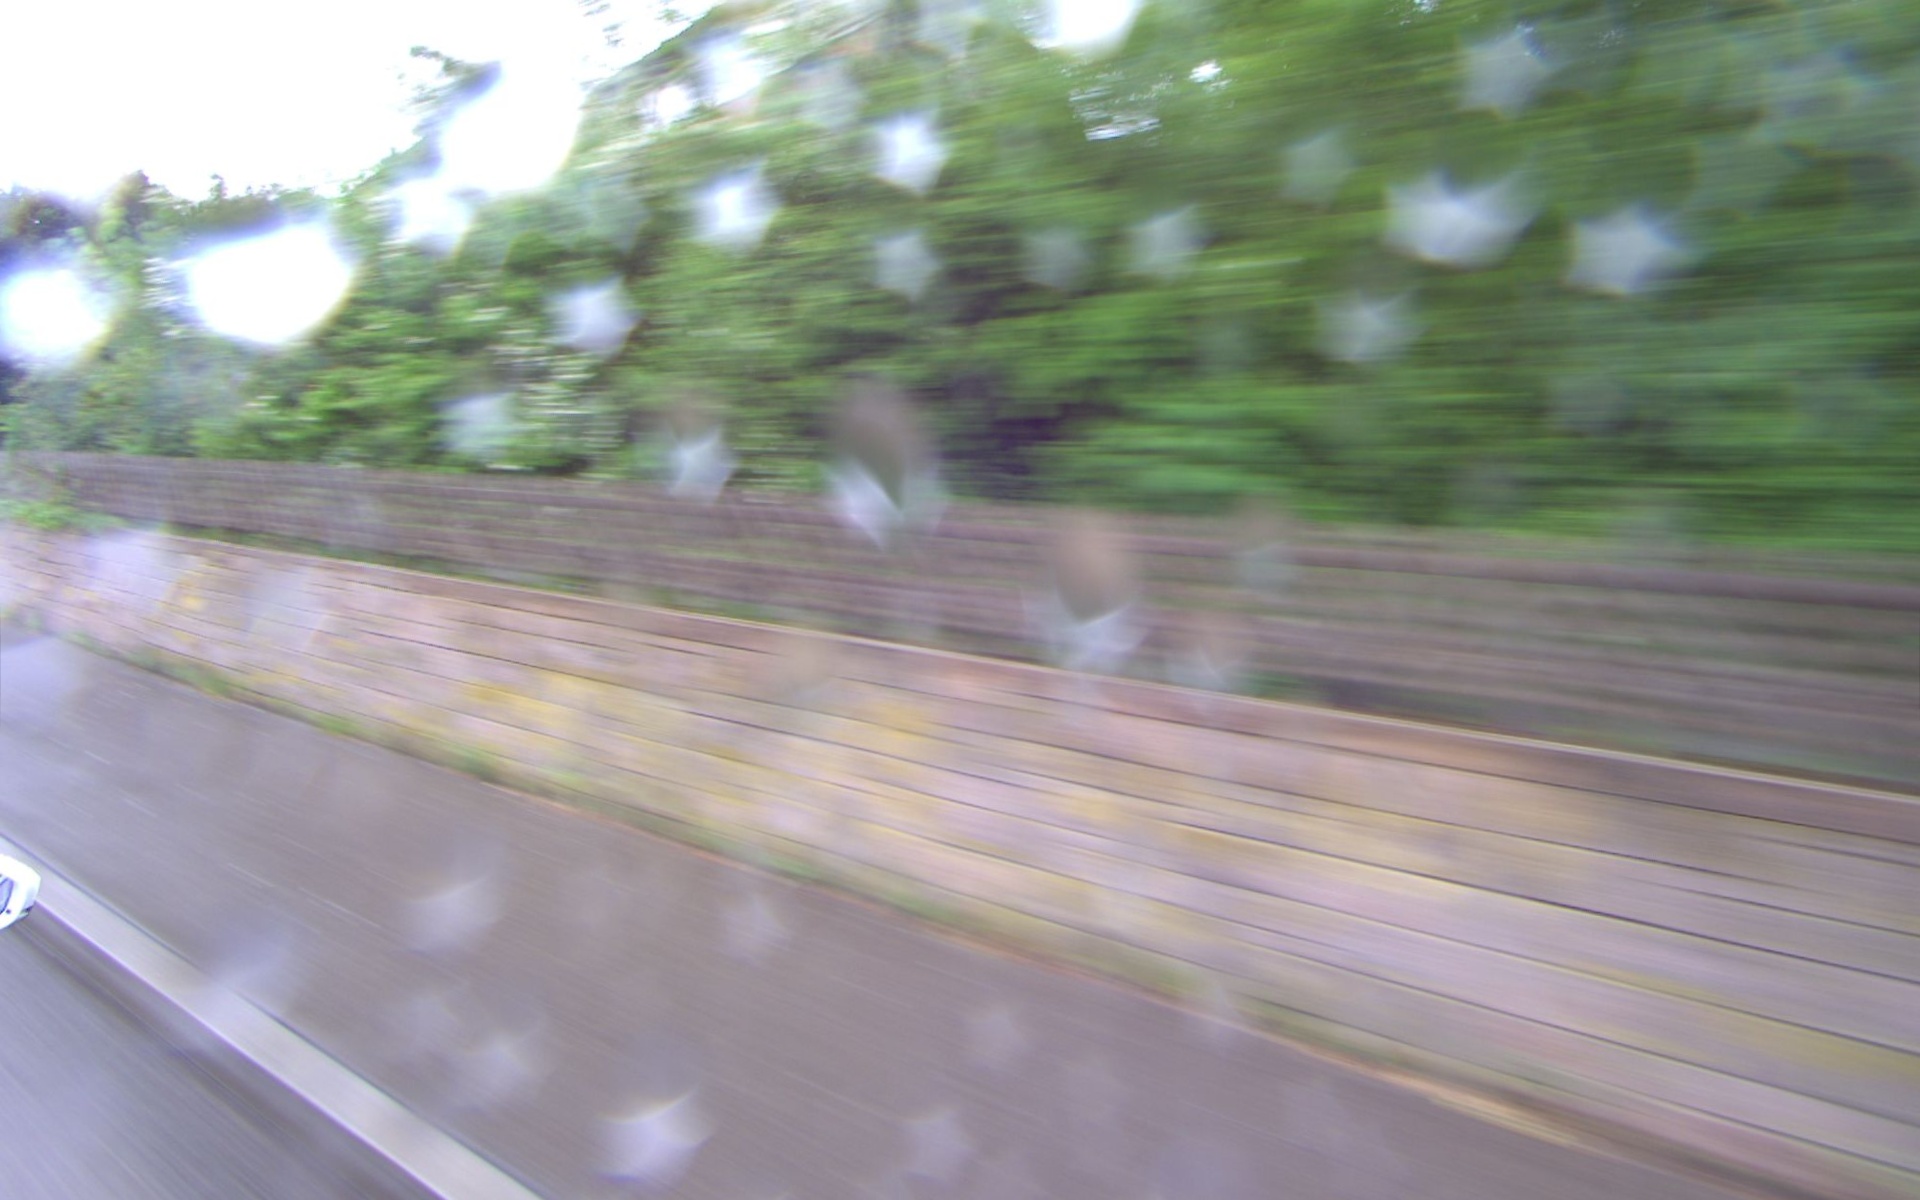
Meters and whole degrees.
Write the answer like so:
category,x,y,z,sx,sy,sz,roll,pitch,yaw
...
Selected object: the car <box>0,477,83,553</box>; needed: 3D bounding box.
category,x,y,z,sx,sy,sz,roll,pitch,yaw
car,-23.257,-2.101,23.172,4.263,1.629,1.852,5,4,-7
